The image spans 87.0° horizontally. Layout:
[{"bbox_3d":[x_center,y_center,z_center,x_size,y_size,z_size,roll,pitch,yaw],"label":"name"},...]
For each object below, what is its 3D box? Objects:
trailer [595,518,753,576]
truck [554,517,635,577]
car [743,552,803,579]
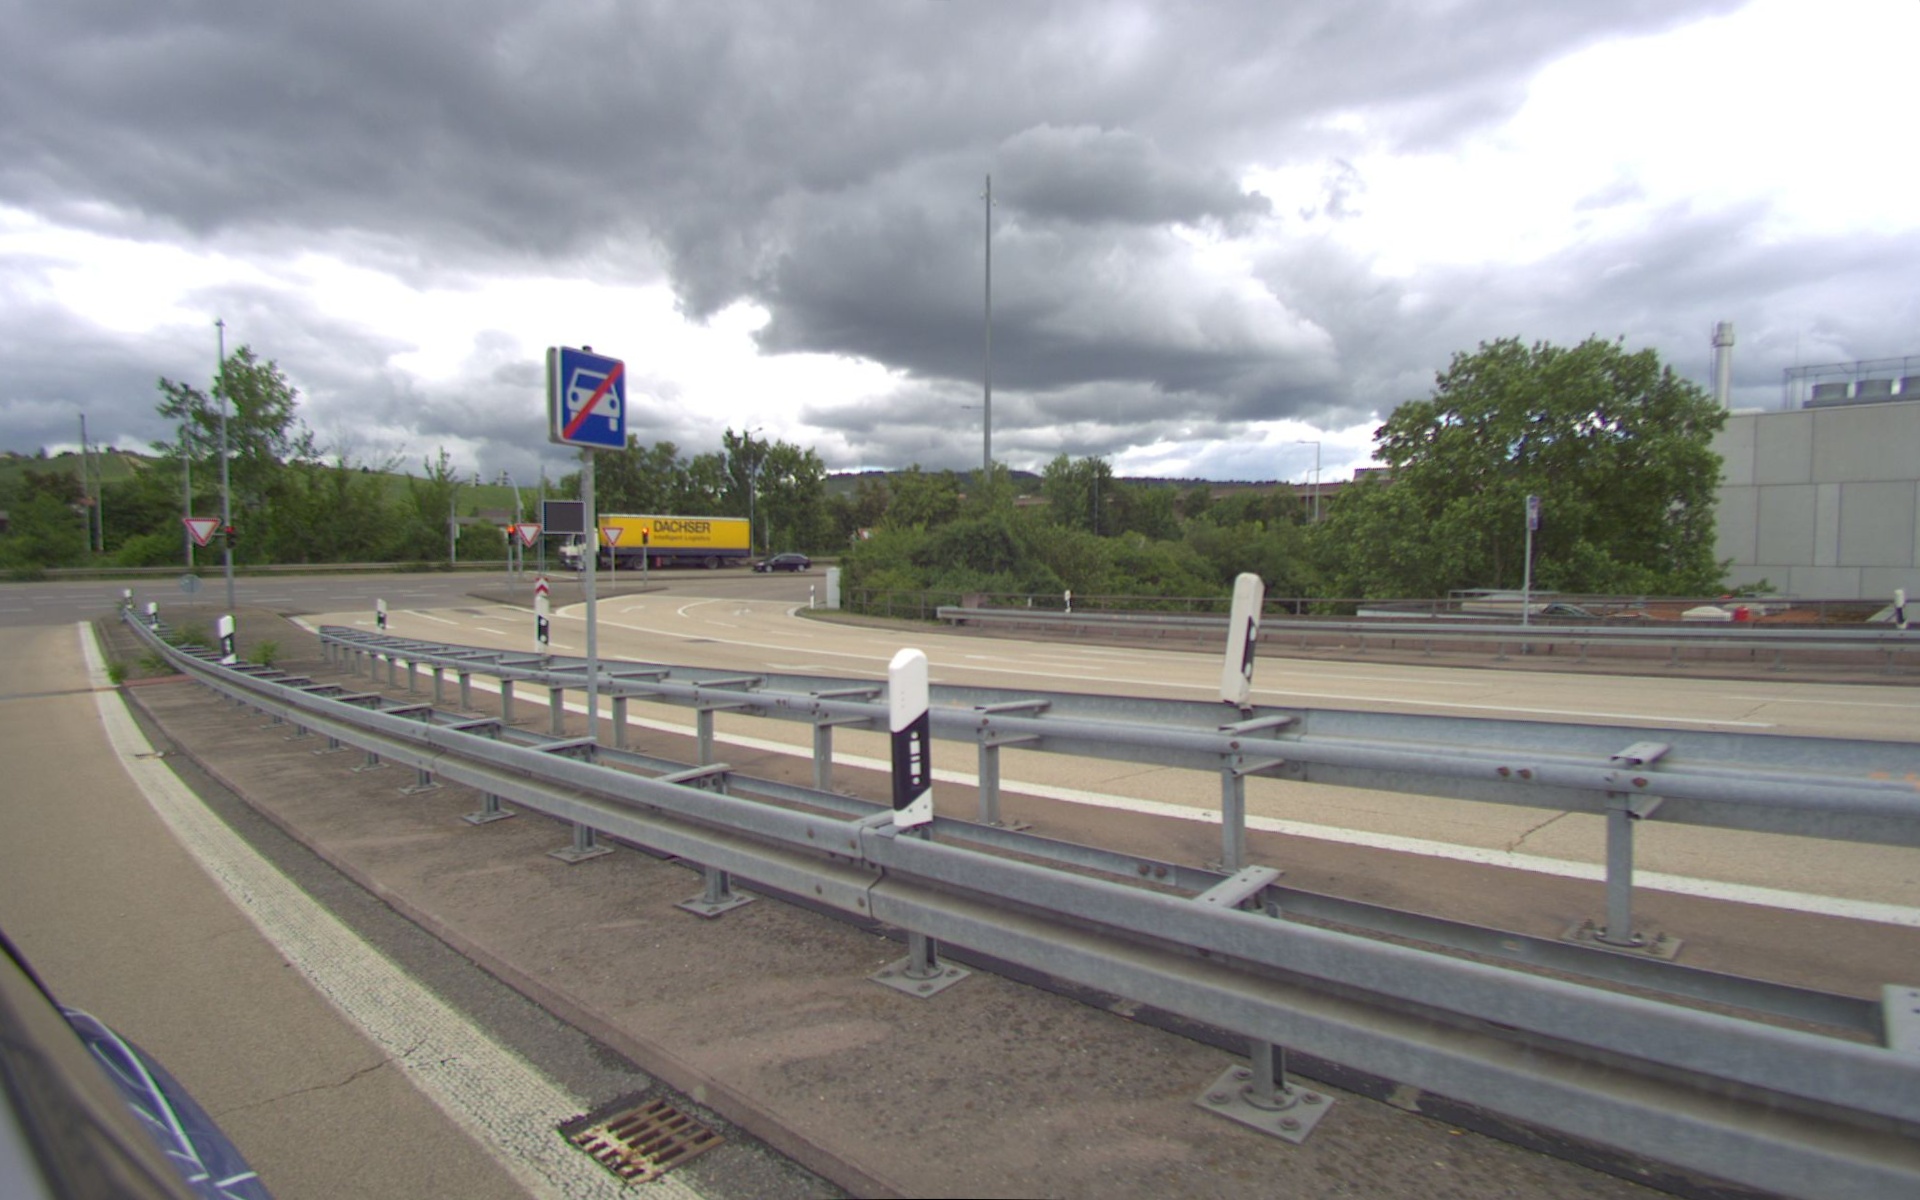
[{"bbox_3d":[-21.786,-4.072,77.717,11.467,4.235,2.641,-2,4,-37],"label":"trailer"},{"bbox_3d":[-26.716,-3.905,73.999,5.019,4.235,2.641,-2,4,-37],"label":"truck"},{"bbox_3d":[-13.850,-2.587,75.072,4.061,1.673,1.632,-6,8,-39],"label":"car"}]
